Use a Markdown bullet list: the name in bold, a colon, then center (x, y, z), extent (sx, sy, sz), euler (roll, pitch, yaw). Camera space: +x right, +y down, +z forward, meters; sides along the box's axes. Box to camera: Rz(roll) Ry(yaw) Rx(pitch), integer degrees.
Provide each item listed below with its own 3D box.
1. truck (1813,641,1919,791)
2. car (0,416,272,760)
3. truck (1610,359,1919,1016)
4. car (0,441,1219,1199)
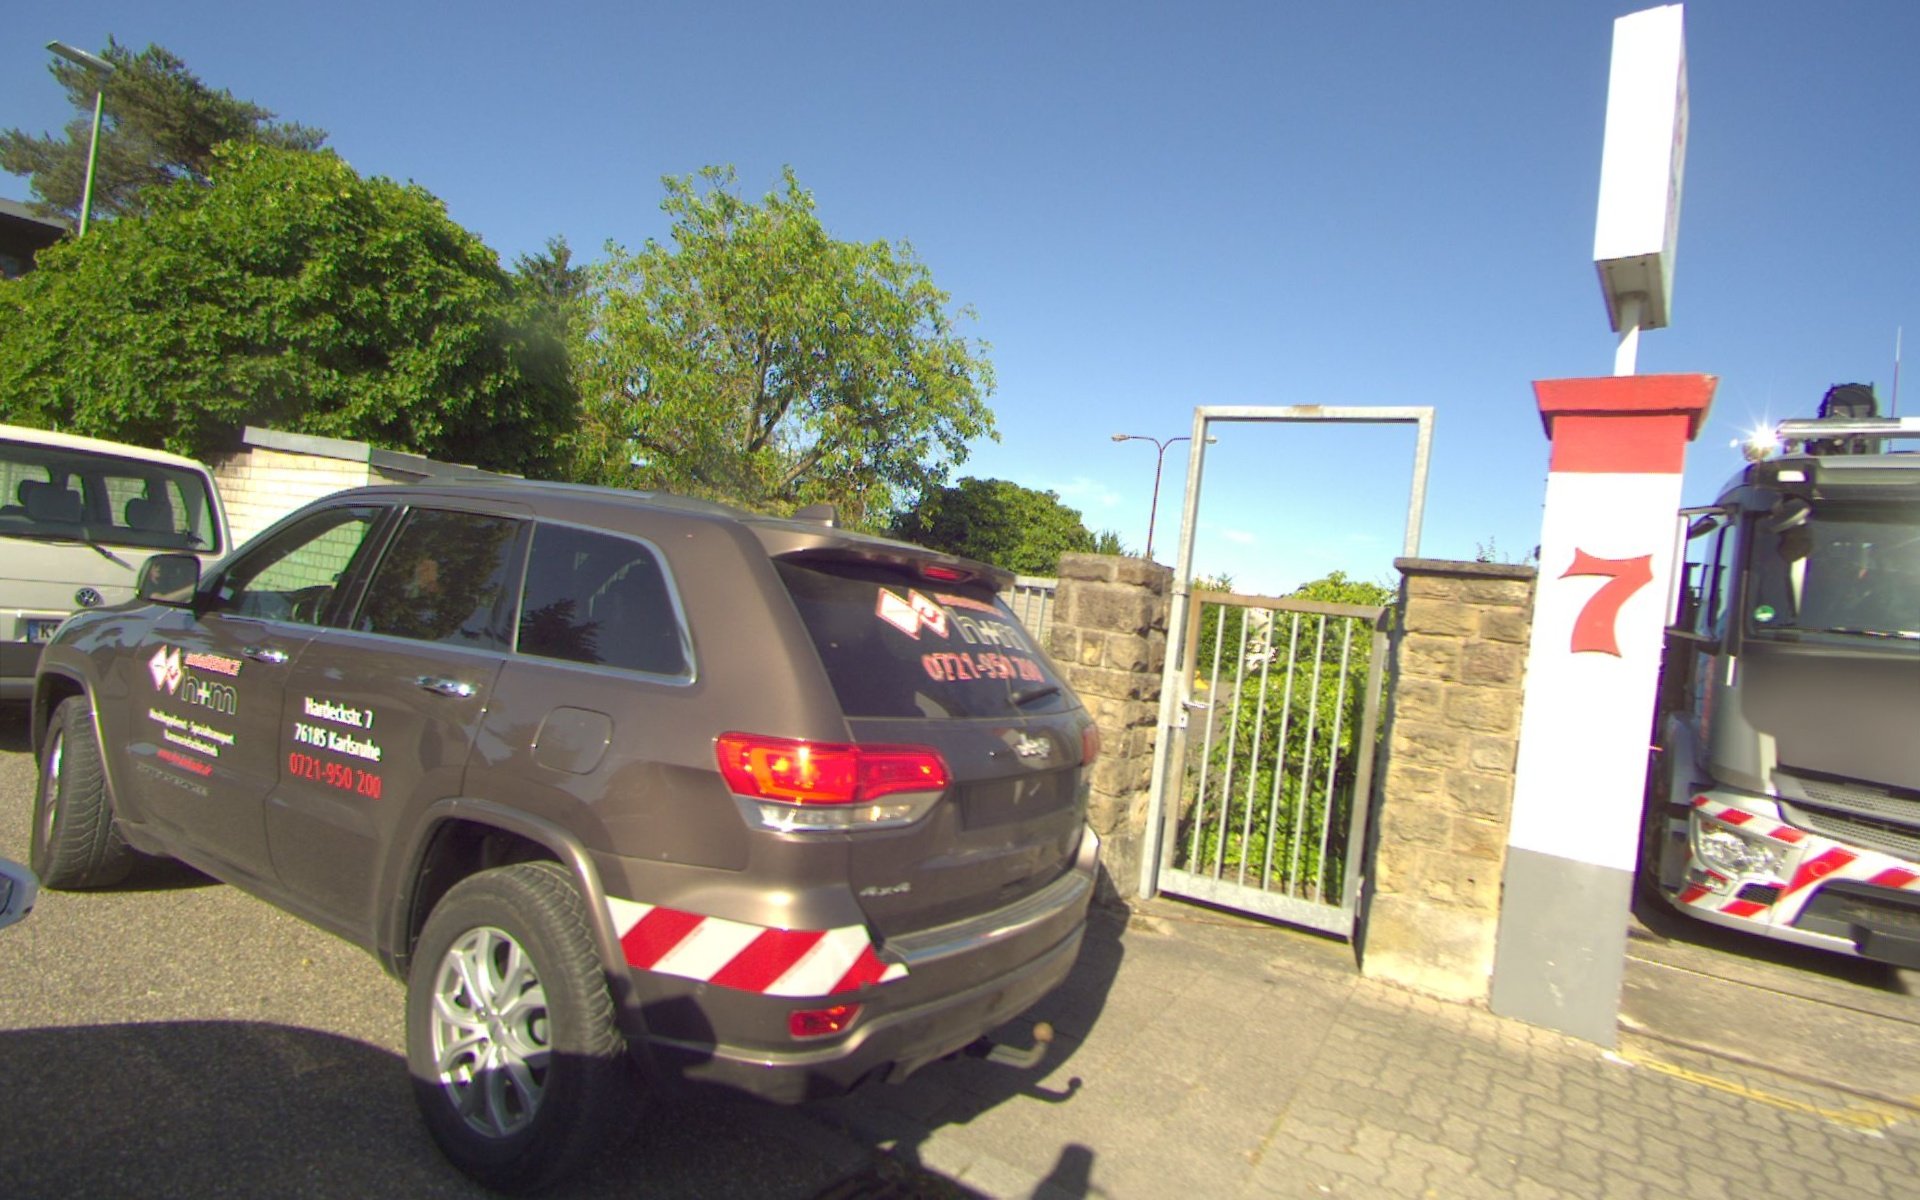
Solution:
- **truck**: center (21.445, 2.625, 22.160), extent (2.565, 2.902, 7.158), euler (7, 0, 31)
- **car**: center (-7.265, -0.268, 7.299), extent (4.840, 1.950, 1.893), euler (7, 0, 33)
- **truck**: center (7.520, 0.700, 9.016), extent (2.378, 3.236, 9.780), euler (7, 1, 32)
- **car**: center (-1.743, 0.496, 3.830), extent (4.831, 1.763, 1.805), euler (6, -2, 32)
